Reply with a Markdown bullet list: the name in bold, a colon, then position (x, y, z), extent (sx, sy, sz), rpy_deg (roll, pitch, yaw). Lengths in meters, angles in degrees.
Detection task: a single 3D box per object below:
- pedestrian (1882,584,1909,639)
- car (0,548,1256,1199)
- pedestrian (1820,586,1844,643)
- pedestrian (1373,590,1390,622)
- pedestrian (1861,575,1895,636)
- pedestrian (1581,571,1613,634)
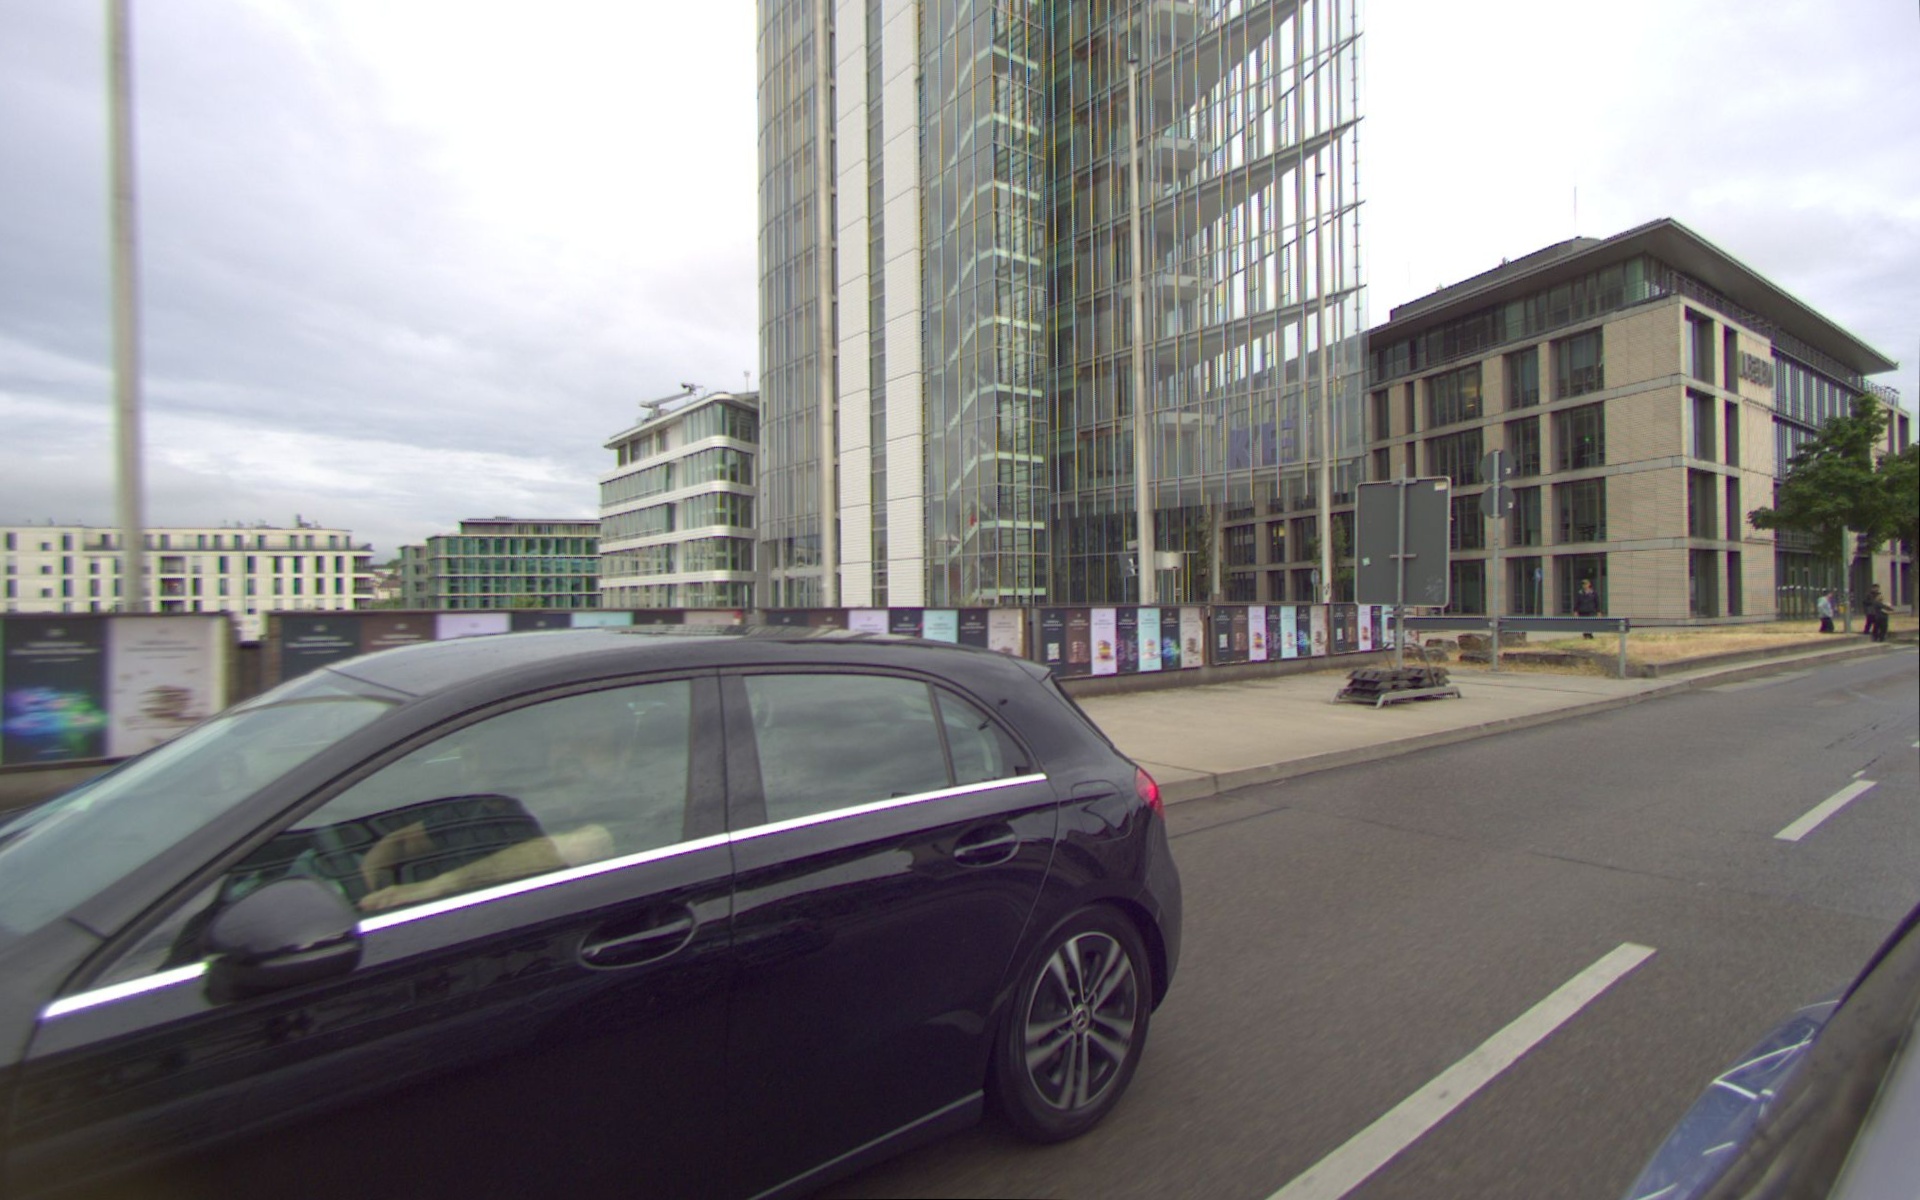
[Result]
- **pedestrian**: position (26.786, 0.312, 28.986), extent (0.591, 1.547, 0.541), rpy_deg (-1, 1, -44)
- **car**: position (-1.162, 0.601, 2.545), extent (4.083, 1.393, 1.726), rpy_deg (-2, 1, -41)
- **pedestrian**: position (25.413, 0.419, 29.498), extent (0.459, 1.619, 0.647), rpy_deg (0, 1, 37)
- **pedestrian**: position (24.242, 0.337, 58.146), extent (0.621, 1.767, 0.637), rpy_deg (-1, 1, -18)
- **pedestrian**: position (27.301, 0.146, 30.100), extent (0.726, 1.793, 0.771), rpy_deg (0, 1, 44)
- **pedestrian**: position (16.702, 0.061, 26.556), extent (0.655, 1.631, 0.541), rpy_deg (-1, -1, 29)
